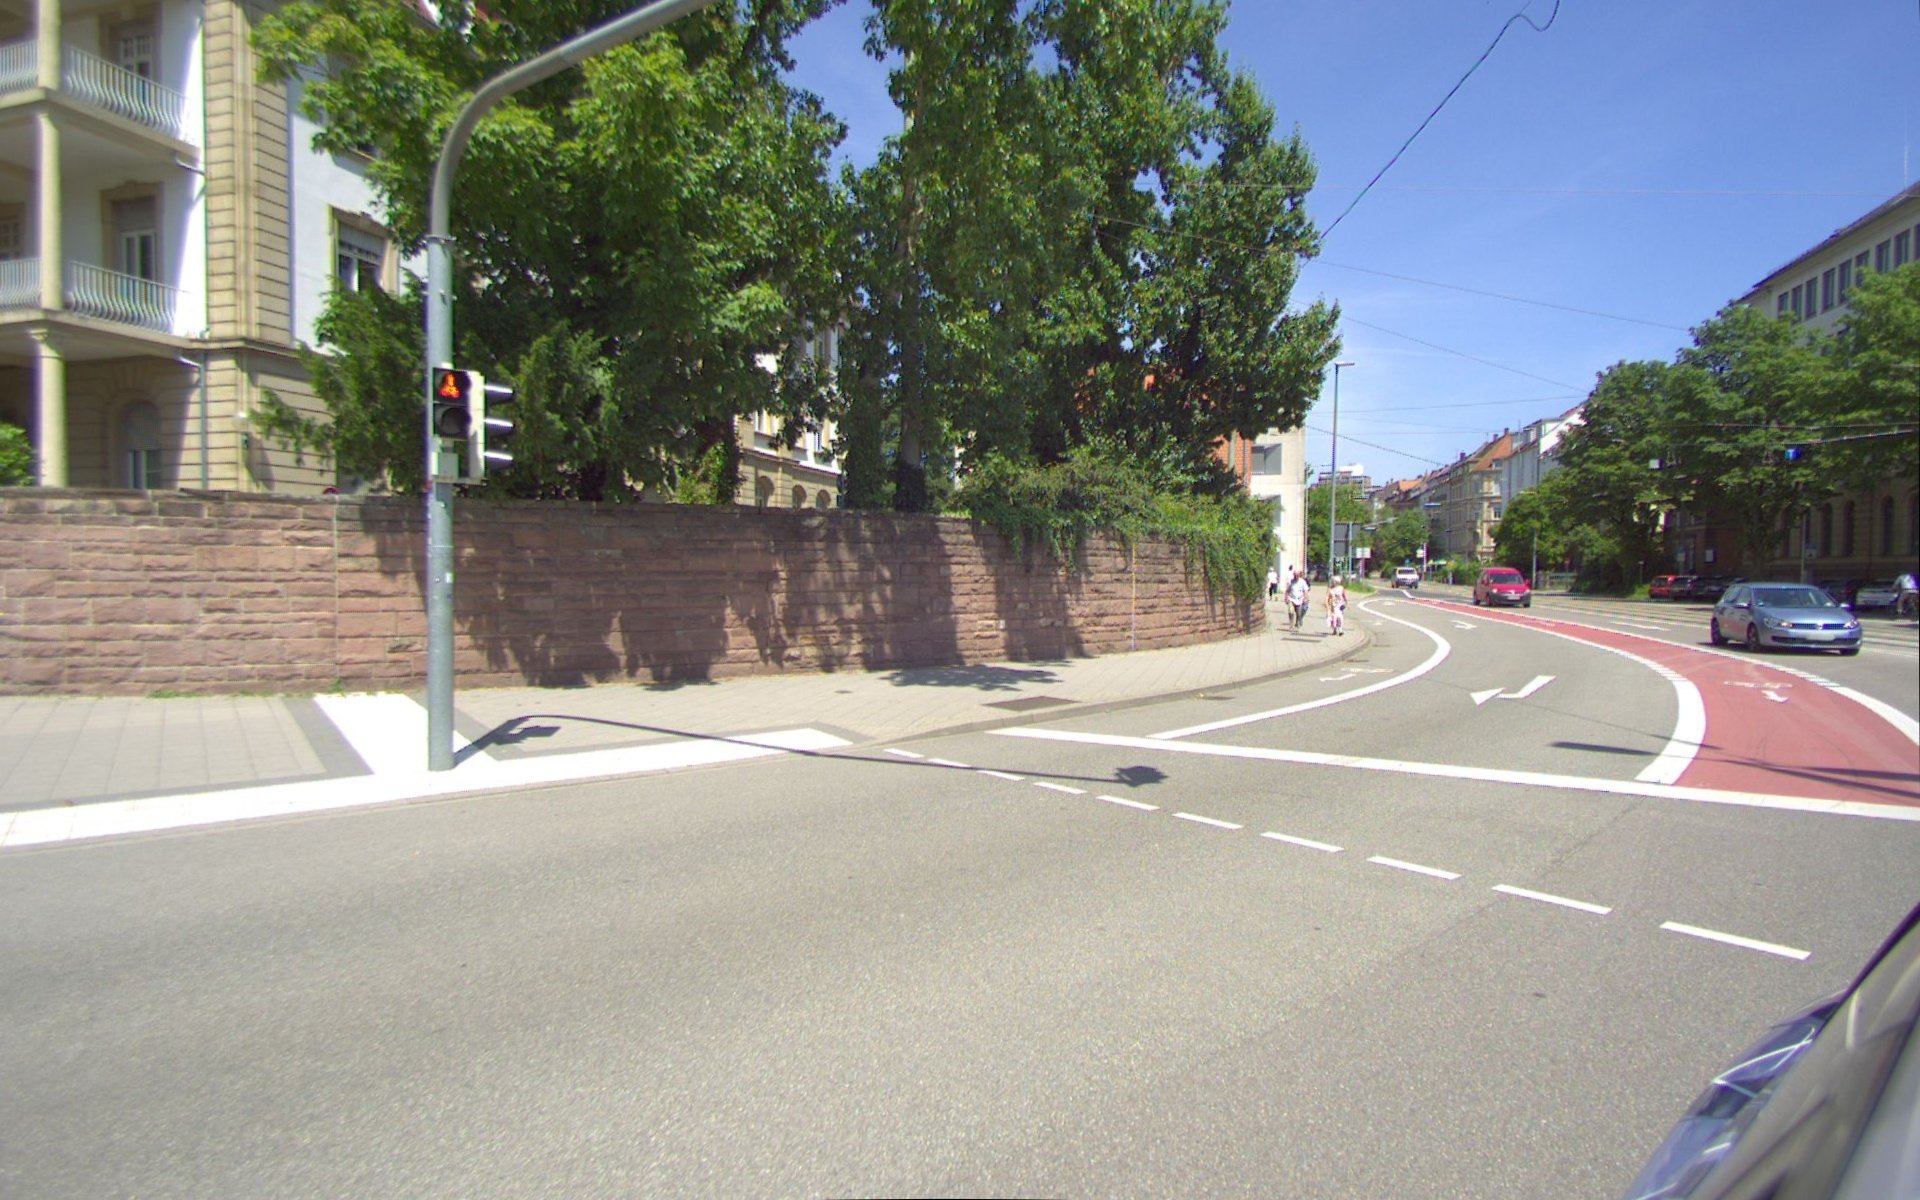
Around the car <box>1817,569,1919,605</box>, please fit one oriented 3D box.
[{"bbox_3d":[39.953,-0.560,44.536,3.090,1.481,1.572,-1,0,-1],"label":"car"}]

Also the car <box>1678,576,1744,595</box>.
[{"bbox_3d":[44.530,-0.859,60.003,2.932,1.113,1.281,-1,0,-1],"label":"car"}]

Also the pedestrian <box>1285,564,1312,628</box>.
[{"bbox_3d":[8.987,-0.115,26.855,0.597,1.631,0.555,3,1,20],"label":"pedestrian"}]

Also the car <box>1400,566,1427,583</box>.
[{"bbox_3d":[40.798,-2.304,91.102,1.810,1.409,4.253,1,2,19],"label":"car"}]

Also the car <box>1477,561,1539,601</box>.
[{"bbox_3d":[25.534,-0.868,47.270,1.810,1.788,4.253,-1,0,19],"label":"car"}]

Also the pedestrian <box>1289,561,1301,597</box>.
[{"bbox_3d":[16.263,-1.018,49.132,0.483,1.734,0.518,3,1,19],"label":"pedestrian"}]

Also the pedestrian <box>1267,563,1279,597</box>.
[{"bbox_3d":[15.306,-0.972,49.485,0.483,1.625,0.555,3,1,18],"label":"pedestrian"}]

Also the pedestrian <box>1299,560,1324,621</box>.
[{"bbox_3d":[10.224,-0.271,29.470,0.597,1.734,0.555,3,1,19],"label":"pedestrian"}]

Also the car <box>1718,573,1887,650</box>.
[{"bbox_3d":[17.810,0.167,21.620,1.815,1.432,3.960,0,2,25],"label":"car"}]

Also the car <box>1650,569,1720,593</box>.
[{"bbox_3d":[45.777,-1.183,63.945,3.504,1.471,1.618,-1,0,-11],"label":"car"}]

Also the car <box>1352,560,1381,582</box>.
[{"bbox_3d":[33.148,-2.359,82.665,1.793,1.729,3.980,1,2,17],"label":"car"}]

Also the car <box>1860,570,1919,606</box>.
[{"bbox_3d":[39.655,-0.520,41.802,3.485,1.438,1.571,-1,0,1],"label":"car"}]

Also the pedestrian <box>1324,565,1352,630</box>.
[{"bbox_3d":[9.763,-0.066,26.154,0.597,1.631,0.555,3,1,20],"label":"pedestrian"}]

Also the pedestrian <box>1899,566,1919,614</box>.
[{"bbox_3d":[34.247,-0.361,36.202,0.716,1.691,0.639,1,1,22],"label":"pedestrian"}]

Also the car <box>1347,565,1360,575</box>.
[{"bbox_3d":[55.096,-4.174,141.764,1.406,1.341,2.973,-1,0,15],"label":"car"}]
